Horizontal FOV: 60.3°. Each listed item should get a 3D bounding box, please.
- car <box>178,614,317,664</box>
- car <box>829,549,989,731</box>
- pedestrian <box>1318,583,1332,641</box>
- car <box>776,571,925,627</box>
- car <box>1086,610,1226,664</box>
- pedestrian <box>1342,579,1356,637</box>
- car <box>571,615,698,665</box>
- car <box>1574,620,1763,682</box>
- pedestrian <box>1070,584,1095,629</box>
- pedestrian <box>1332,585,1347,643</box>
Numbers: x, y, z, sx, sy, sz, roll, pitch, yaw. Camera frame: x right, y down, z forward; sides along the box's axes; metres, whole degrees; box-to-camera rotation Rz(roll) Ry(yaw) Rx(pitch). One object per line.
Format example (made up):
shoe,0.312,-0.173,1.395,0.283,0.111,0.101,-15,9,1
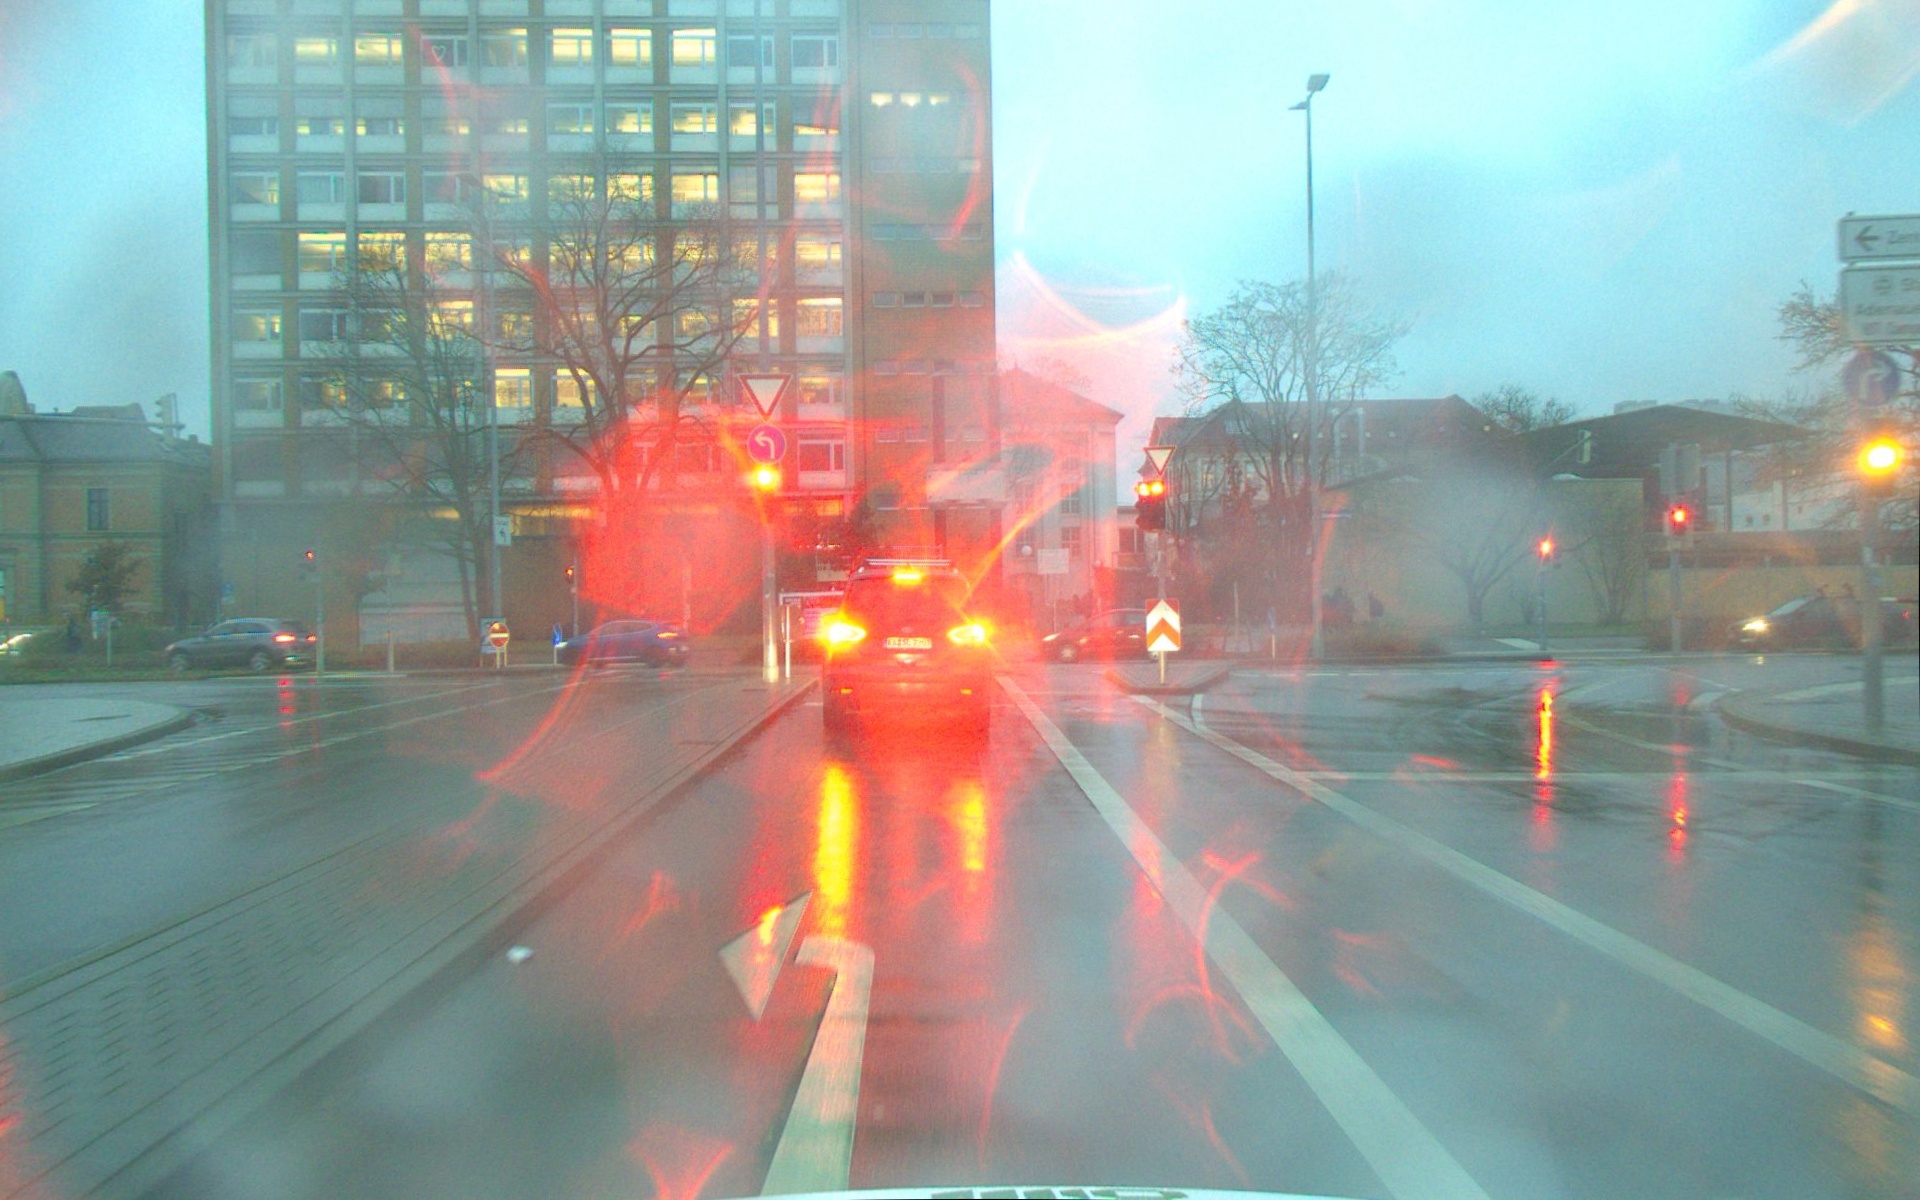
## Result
car,-22.053,1.199,51.210,3.832,1.512,1.470,0,-2,14
car,-0.558,0.396,18.931,1.614,1.850,3.999,0,0,-1
pedestrian,12.017,0.396,54.431,0.428,1.871,0.460,0,-2,17
car,-4.139,-0.031,63.071,5.429,2.060,2.001,0,-2,5
car,5.397,1.008,45.409,3.708,1.423,1.566,0,-2,11
pedestrian,12.776,0.270,54.364,0.428,1.871,0.460,0,-2,17
car,-9.528,1.145,48.430,3.338,1.422,1.470,0,-1,14
car,18.899,1.354,44.316,4.338,1.608,1.969,0,-2,12
pedestrian,4.639,0.263,62.607,0.679,1.690,0.668,2,-2,-37
pedestrian,12.239,0.456,53.387,0.448,1.871,0.439,0,-2,16
